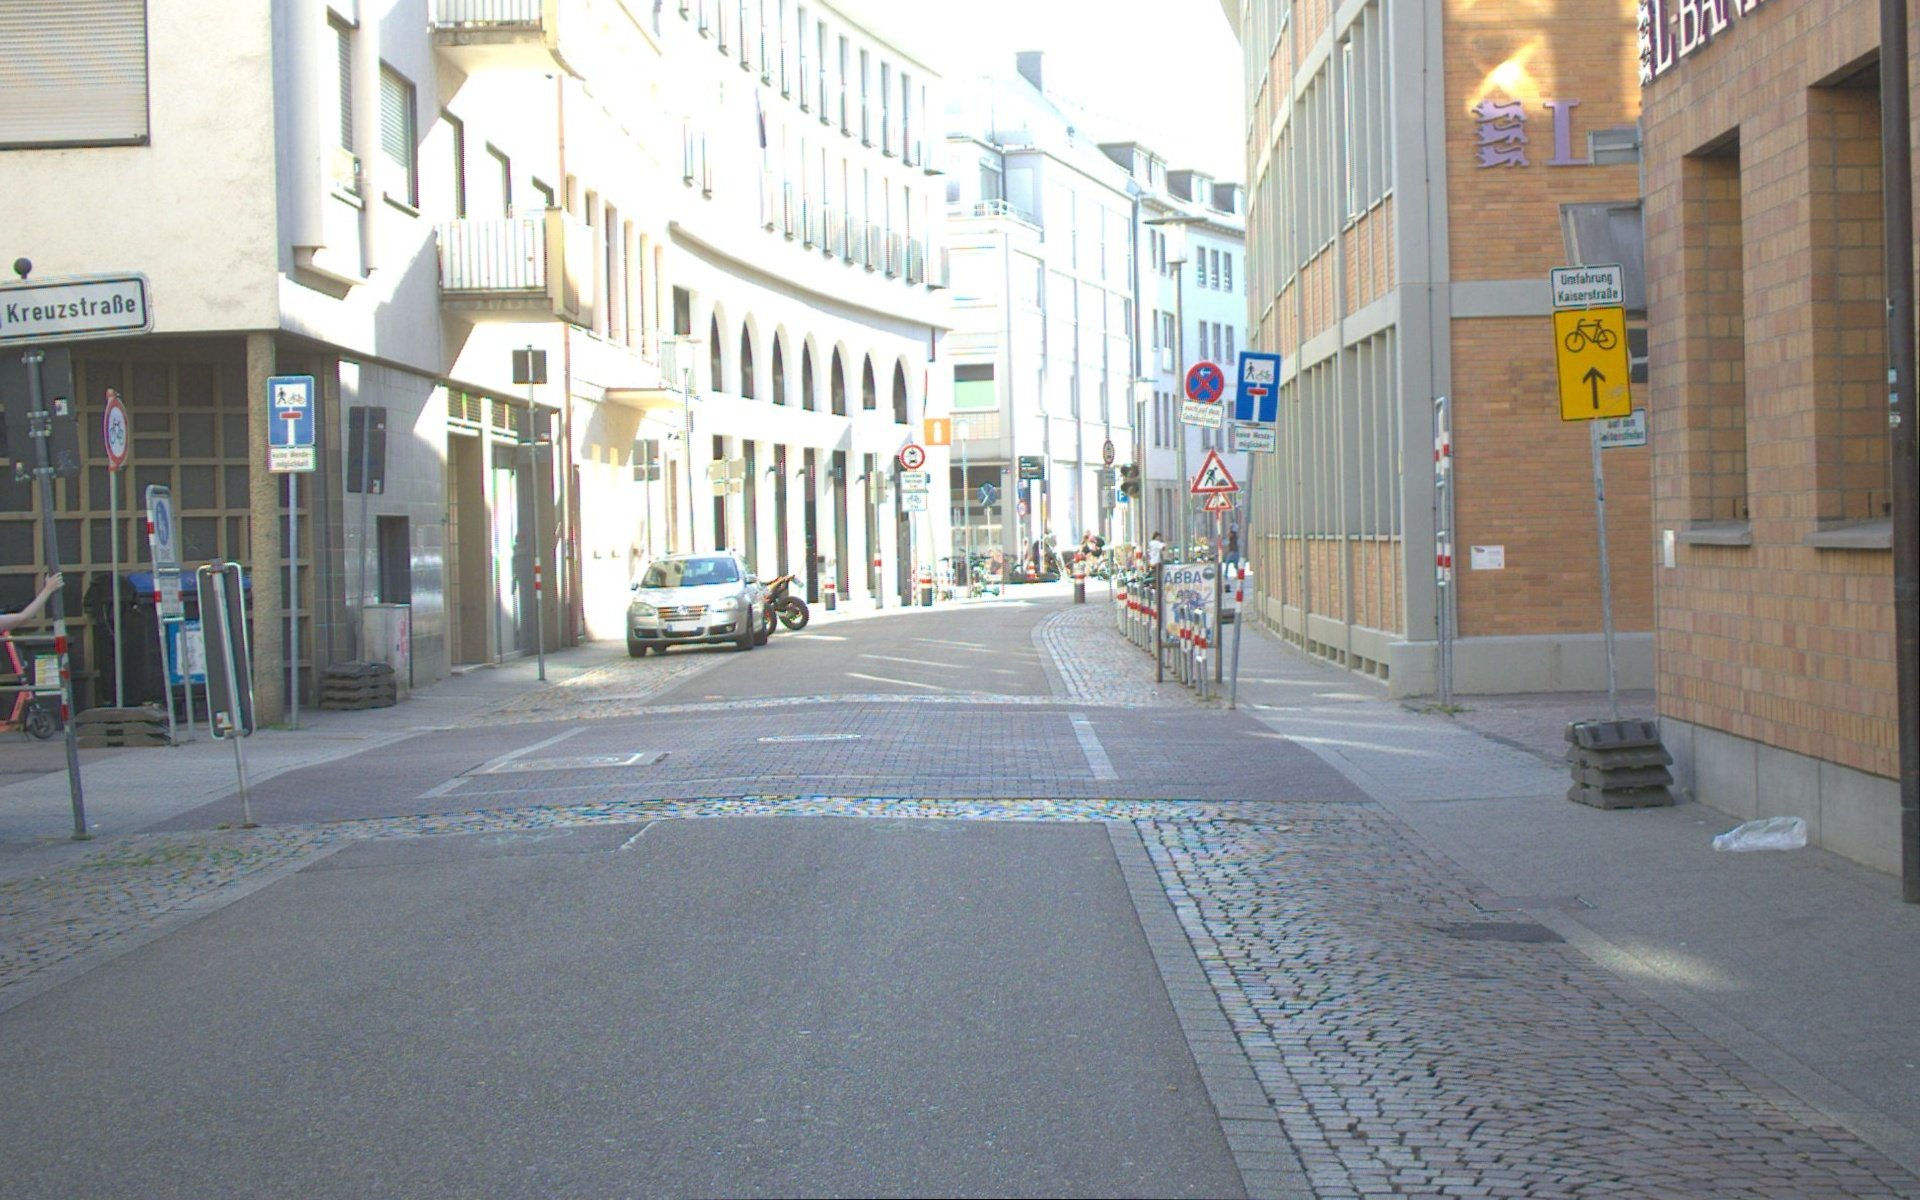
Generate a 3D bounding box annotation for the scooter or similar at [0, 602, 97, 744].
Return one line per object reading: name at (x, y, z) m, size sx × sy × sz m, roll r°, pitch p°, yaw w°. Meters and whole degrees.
scooter or similar at (-8.264, 0.643, 30.254) m, size 1.157 × 1.202 × 0.480 m, roll -2°, pitch 1°, yaw 1°

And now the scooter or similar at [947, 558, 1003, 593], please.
scooter or similar at (0.429, -0.686, 96.085) m, size 0.526 × 0.925 × 2.224 m, roll 0°, pitch 1°, yaw 31°

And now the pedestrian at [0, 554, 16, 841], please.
pedestrian at (-5.742, 0.555, 19.391) m, size 0.645 × 1.620 × 0.457 m, roll -2°, pitch 1°, yaw -41°

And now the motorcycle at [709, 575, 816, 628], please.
motorcycle at (-3.287, 0.023, 57.198) m, size 1.691 × 0.856 × 0.594 m, roll 1°, pitch 0°, yaw 6°

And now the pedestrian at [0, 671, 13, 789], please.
pedestrian at (-6.223, 0.802, 21.197) m, size 0.582 × 0.712 × 0.647 m, roll -2°, pitch 1°, yaw -29°

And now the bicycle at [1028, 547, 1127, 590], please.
bicycle at (3.758, -1.004, 110.030) m, size 3.090 × 1.349 × 0.701 m, roll 1°, pitch 0°, yaw 14°

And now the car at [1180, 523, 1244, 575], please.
car at (8.206, -1.669, 111.644) m, size 1.737 × 1.600 × 3.532 m, roll -2°, pitch 1°, yaw 9°

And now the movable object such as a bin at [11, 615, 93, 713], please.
movable object such as a bin at (-8.446, 0.591, 31.972) m, size 0.525 × 0.899 × 0.536 m, roll 1°, pitch 0°, yaw 44°

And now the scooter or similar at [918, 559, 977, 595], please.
scooter or similar at (-0.330, -0.627, 92.754) m, size 0.526 × 0.925 × 2.224 m, roll 0°, pitch 1°, yaw 31°

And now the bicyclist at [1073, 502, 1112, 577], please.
bicyclist at (4.226, -1.932, 109.915) m, size 1.091 × 2.381 × 0.741 m, roll 1°, pitch 0°, yaw 14°

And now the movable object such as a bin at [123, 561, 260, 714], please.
movable object such as a bin at (-7.291, 0.349, 32.619) m, size 0.884 × 1.415 × 0.932 m, roll 1°, pitch 0°, yaw 44°

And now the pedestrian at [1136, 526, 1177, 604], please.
pedestrian at (4.745, -0.844, 82.936) m, size 0.659 × 1.862 × 0.786 m, roll 1°, pitch 0°, yaw -29°

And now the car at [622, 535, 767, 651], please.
car at (-3.801, -0.133, 49.708) m, size 1.736 × 1.600 × 3.533 m, roll 0°, pitch 1°, yaw 1°

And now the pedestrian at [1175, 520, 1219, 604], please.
pedestrian at (5.347, -0.857, 77.652) m, size 0.659 × 1.862 × 0.761 m, roll 1°, pitch 0°, yaw -29°

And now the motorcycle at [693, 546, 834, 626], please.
motorcycle at (-3.479, -0.247, 60.905) m, size 2.390 × 1.312 × 0.862 m, roll -2°, pitch 1°, yaw 1°
